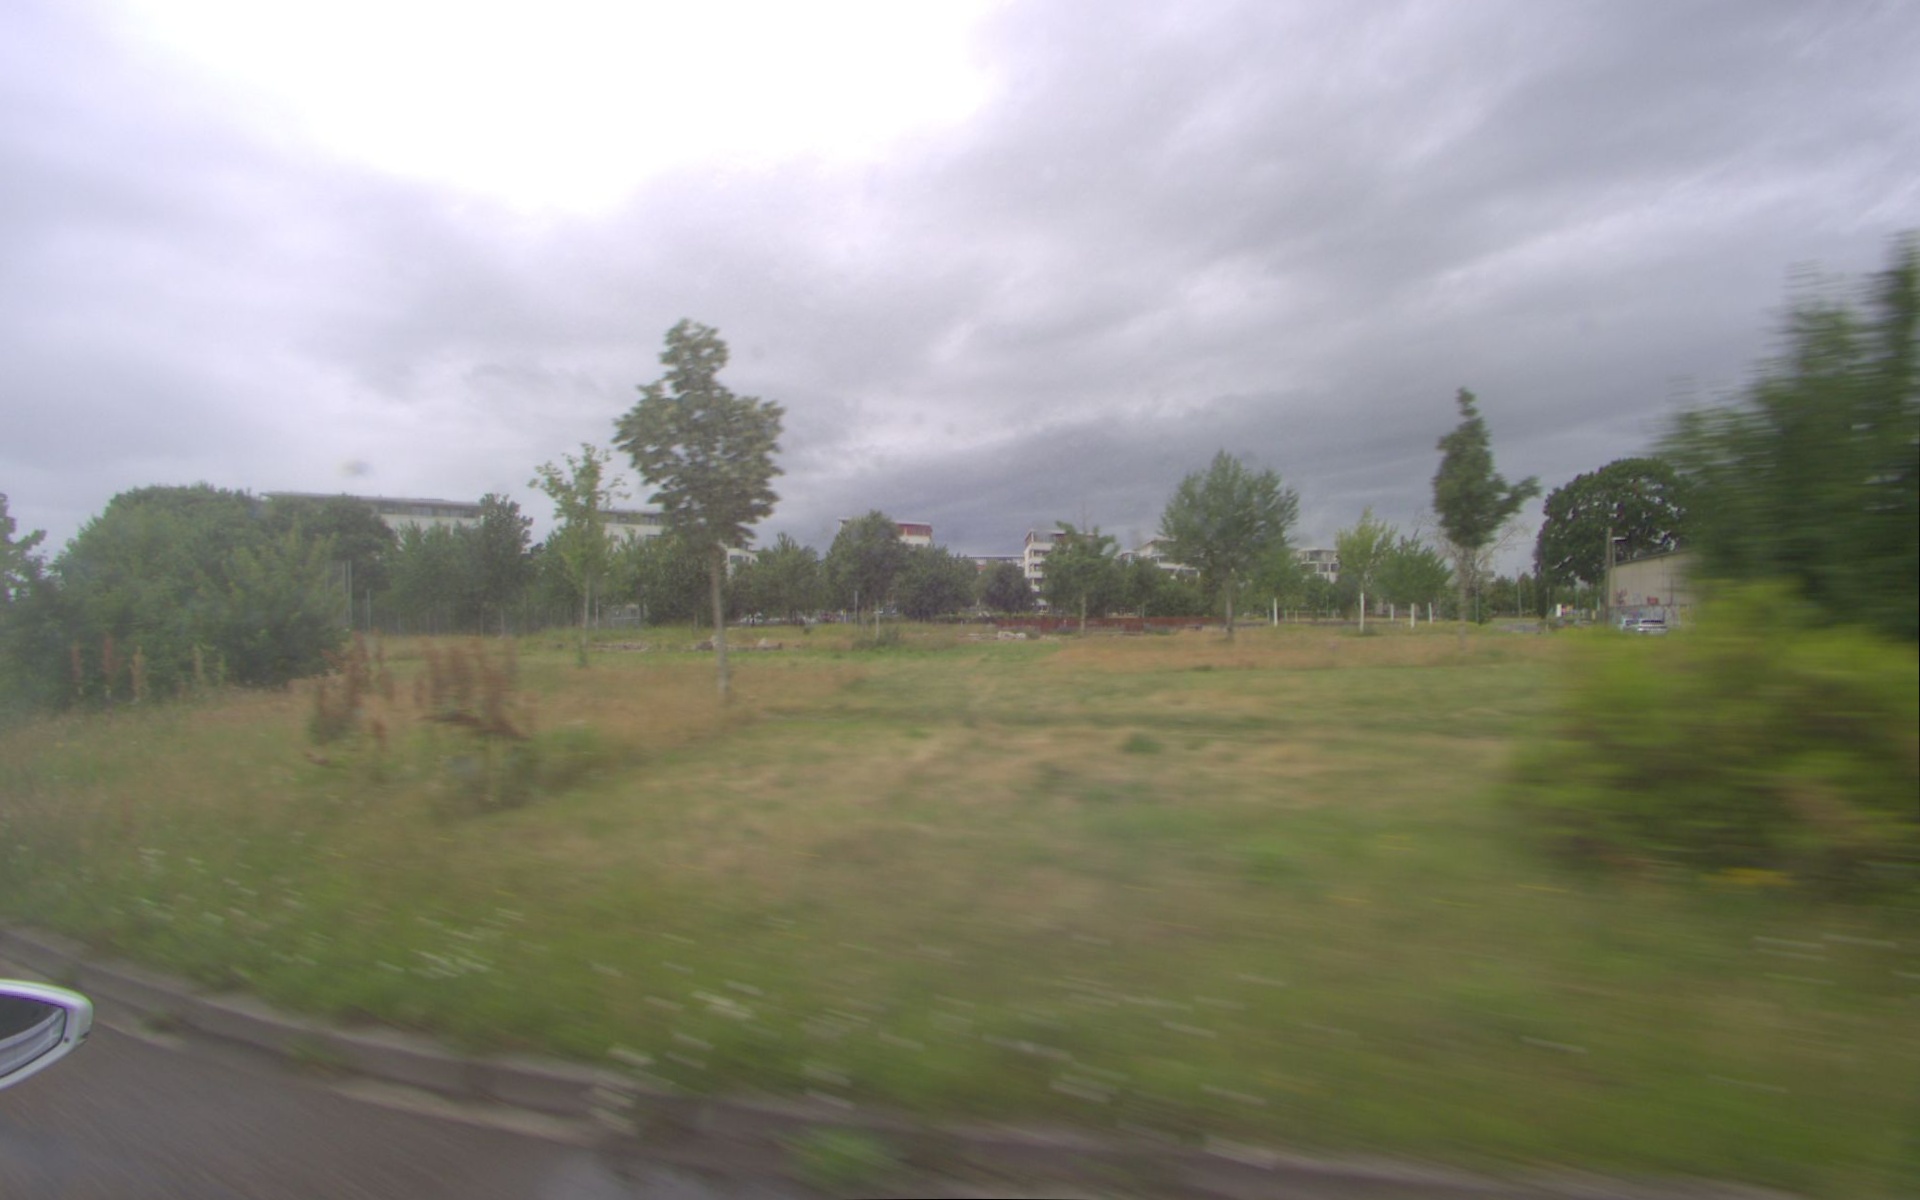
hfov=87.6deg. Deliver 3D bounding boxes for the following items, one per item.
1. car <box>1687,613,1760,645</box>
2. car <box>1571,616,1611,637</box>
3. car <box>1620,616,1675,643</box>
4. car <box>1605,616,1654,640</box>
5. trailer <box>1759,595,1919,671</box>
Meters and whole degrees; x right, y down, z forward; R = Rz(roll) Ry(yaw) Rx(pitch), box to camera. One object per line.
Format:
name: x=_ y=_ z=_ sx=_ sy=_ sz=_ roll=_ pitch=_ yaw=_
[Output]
car: x=41.400 y=1.543 z=54.408 sx=1.965 sy=1.595 sz=4.274 roll=3 pitch=0 yaw=22
car: x=52.659 y=2.171 z=83.602 sx=1.965 sy=1.595 sz=4.517 roll=3 pitch=0 yaw=22
car: x=45.767 y=1.924 z=66.741 sx=1.965 sy=1.595 sz=4.581 roll=3 pitch=0 yaw=22
car: x=48.115 y=2.003 z=72.084 sx=1.965 sy=1.595 sz=4.369 roll=3 pitch=0 yaw=22
trailer: x=20.001 y=0.710 z=22.635 sx=1.727 sy=1.553 sz=4.113 roll=0 pitch=-1 yaw=19
